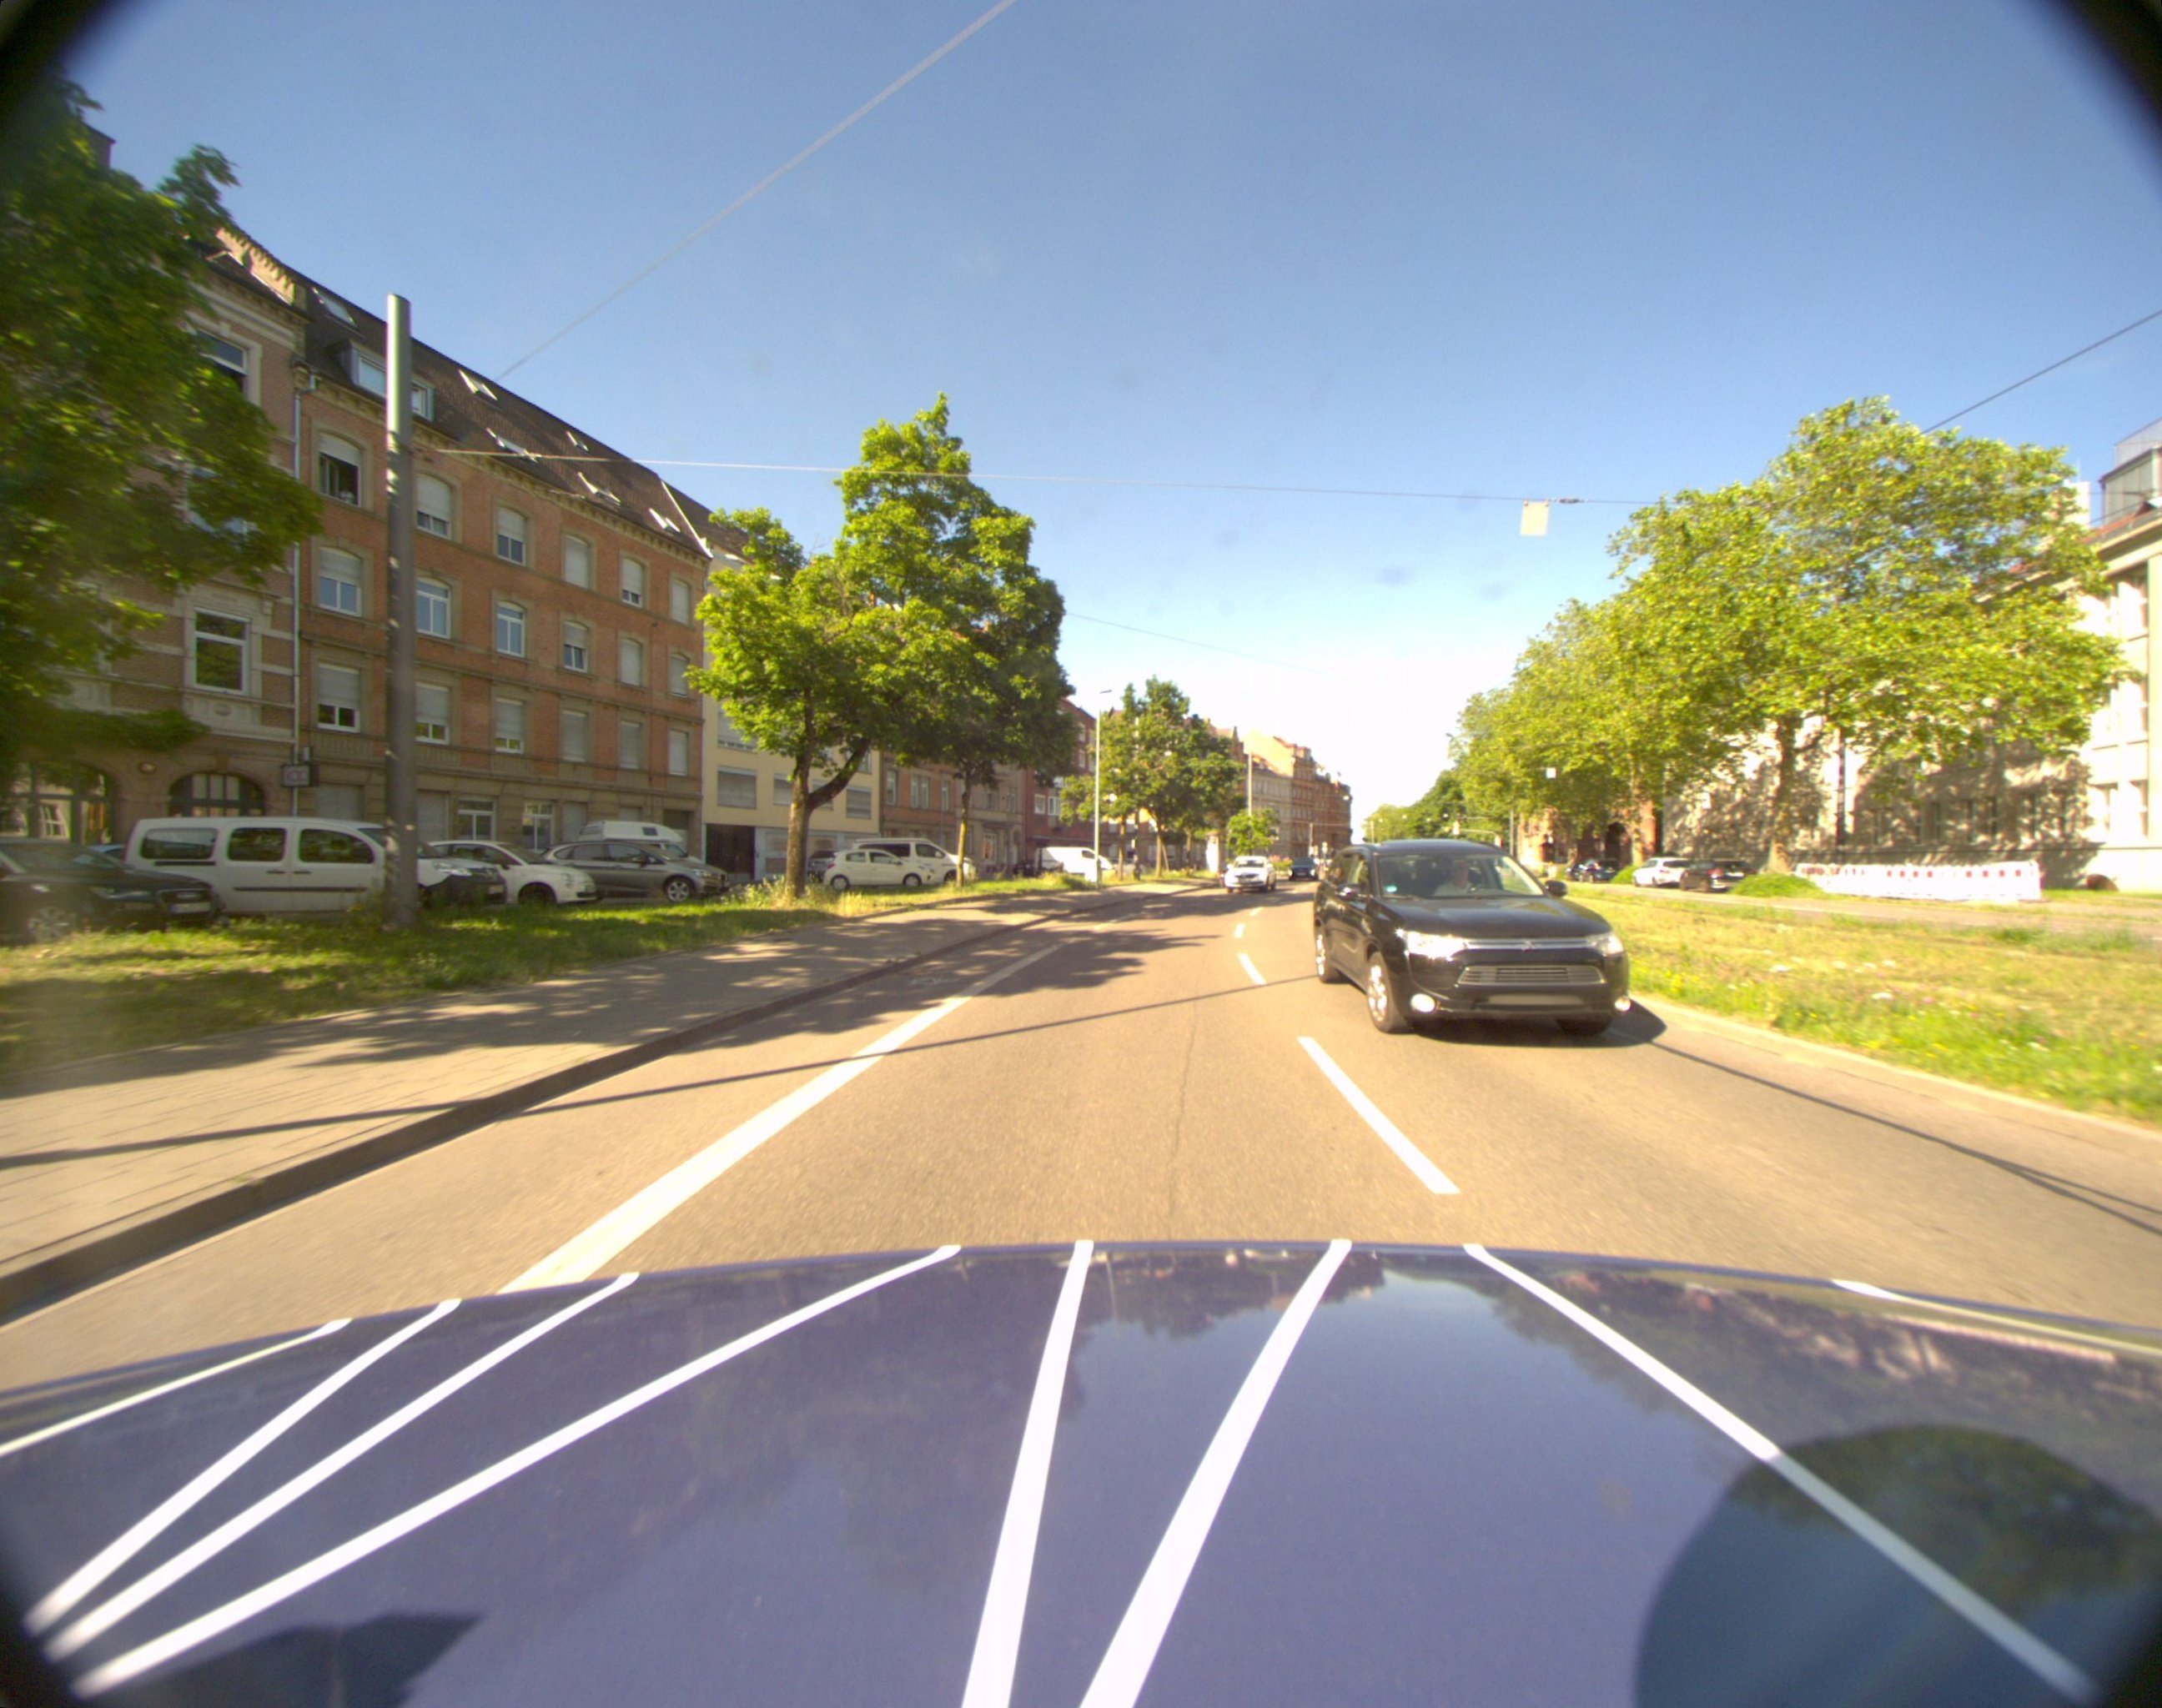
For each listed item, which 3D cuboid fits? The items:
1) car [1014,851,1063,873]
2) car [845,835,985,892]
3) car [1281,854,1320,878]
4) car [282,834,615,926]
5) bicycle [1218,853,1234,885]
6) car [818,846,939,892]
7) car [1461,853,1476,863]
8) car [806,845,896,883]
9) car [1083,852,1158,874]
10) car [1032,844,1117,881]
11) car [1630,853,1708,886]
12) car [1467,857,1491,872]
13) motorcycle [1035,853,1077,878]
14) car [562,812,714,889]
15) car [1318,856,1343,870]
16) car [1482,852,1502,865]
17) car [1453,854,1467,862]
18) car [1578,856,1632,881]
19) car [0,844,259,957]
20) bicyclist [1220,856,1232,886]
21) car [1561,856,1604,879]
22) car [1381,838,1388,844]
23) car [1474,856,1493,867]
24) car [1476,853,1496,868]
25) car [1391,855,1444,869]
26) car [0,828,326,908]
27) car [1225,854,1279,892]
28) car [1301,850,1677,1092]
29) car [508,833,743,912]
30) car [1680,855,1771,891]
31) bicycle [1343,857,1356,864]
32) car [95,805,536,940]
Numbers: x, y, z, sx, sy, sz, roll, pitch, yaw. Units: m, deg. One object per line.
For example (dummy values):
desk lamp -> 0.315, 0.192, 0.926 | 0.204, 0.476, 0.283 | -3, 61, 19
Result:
car -> -3.314, 0.625, 60.342 | 1.996, 1.465, 4.496 | -4, 0, 24
car -> -6.474, 0.356, 30.182 | 5.187, 2.001, 2.099 | 2, 1, -8
car -> 15.154, 0.779, 52.317 | 1.995, 1.608, 4.271 | 0, 0, 24
car -> -12.763, 0.502, 15.701 | 4.880, 1.638, 2.099 | 2, 1, -8
bicycle -> 7.846, 0.795, 41.018 | 0.438, 1.629, 1.942 | 3, 1, 21
car -> -7.211, 0.513, 27.298 | 4.032, 1.470, 1.810 | 2, 1, -12
car -> 64.600, 0.682, 126.730 | 1.792, 1.542, 4.314 | 0, 0, 22
car -> -11.750, 0.517, 39.149 | 1.995, 1.789, 4.634 | 2, 0, 21
car -> 2.765, 0.628, 53.715 | 4.882, 1.426, 2.018 | 2, 0, -12
car -> -0.424, 0.532, 46.828 | 4.883, 2.063, 2.018 | 2, 0, -13
car -> 30.412, 0.779, 39.448 | 1.832, 1.578, 4.402 | 1, 0, 18
car -> 39.731, 0.998, 75.919 | 1.831, 1.444, 4.178 | 1, 0, 23
motorcycle -> -1.465, 0.675, 44.030 | 2.265, 1.412, 0.853 | 2, 0, -28
car -> -16.207, -0.101, 28.093 | 1.995, 2.570, 4.521 | 2, 0, 22
car -> 26.240, 0.966, 80.123 | 1.888, 1.419, 4.380 | 0, 0, 10
car -> 52.881, 0.613, 97.895 | 1.776, 1.564, 3.684 | 1, -2, 20
car -> 68.629, 0.694, 137.591 | 1.792, 1.542, 4.314 | 0, 0, 22
car -> 34.661, 0.923, 50.396 | 1.832, 1.629, 4.402 | 0, 0, 19
car -> -13.838, 0.562, 10.018 | 3.616, 1.372, 1.923 | 0, 0, -12
bicyclist -> 7.816, 0.918, 40.954 | 0.438, 1.629, 0.780 | 1, 0, 22
car -> 36.736, 0.950, 55.742 | 1.673, 1.538, 4.195 | 0, 1, 19
car -> 79.953, -3.447, 200.116 | 1.794, 1.420, 4.383 | 0, 0, 21
car -> 54.336, 0.980, 102.547 | 1.792, 1.542, 3.866 | 0, 0, 21
car -> 57.150, 0.844, 107.223 | 1.918, 2.084, 4.599 | 0, 0, 20
car -> 36.663, 0.861, 82.907 | 1.839, 1.444, 4.947 | 1, 0, -37
car -> -20.599, 0.277, 17.210 | 1.996, 1.520, 4.519 | 2, 0, 17
car -> 8.101, 0.846, 35.687 | 1.798, 1.626, 4.401 | 0, 0, 22
car -> 3.512, 0.807, 7.648 | 1.839, 1.672, 4.645 | -1, 0, 8
car -> -11.029, 0.442, 18.727 | 4.513, 1.718, 1.998 | 2, 1, -8
car -> 28.128, 0.789, 33.332 | 1.831, 1.483, 4.188 | 0, 0, 22
bicycle -> 46.897, 1.107, 132.891 | 1.915, 1.131, 0.846 | 2, 1, 37
car -> -12.540, 0.318, 12.896 | 4.882, 2.001, 2.098 | 2, 1, -13
